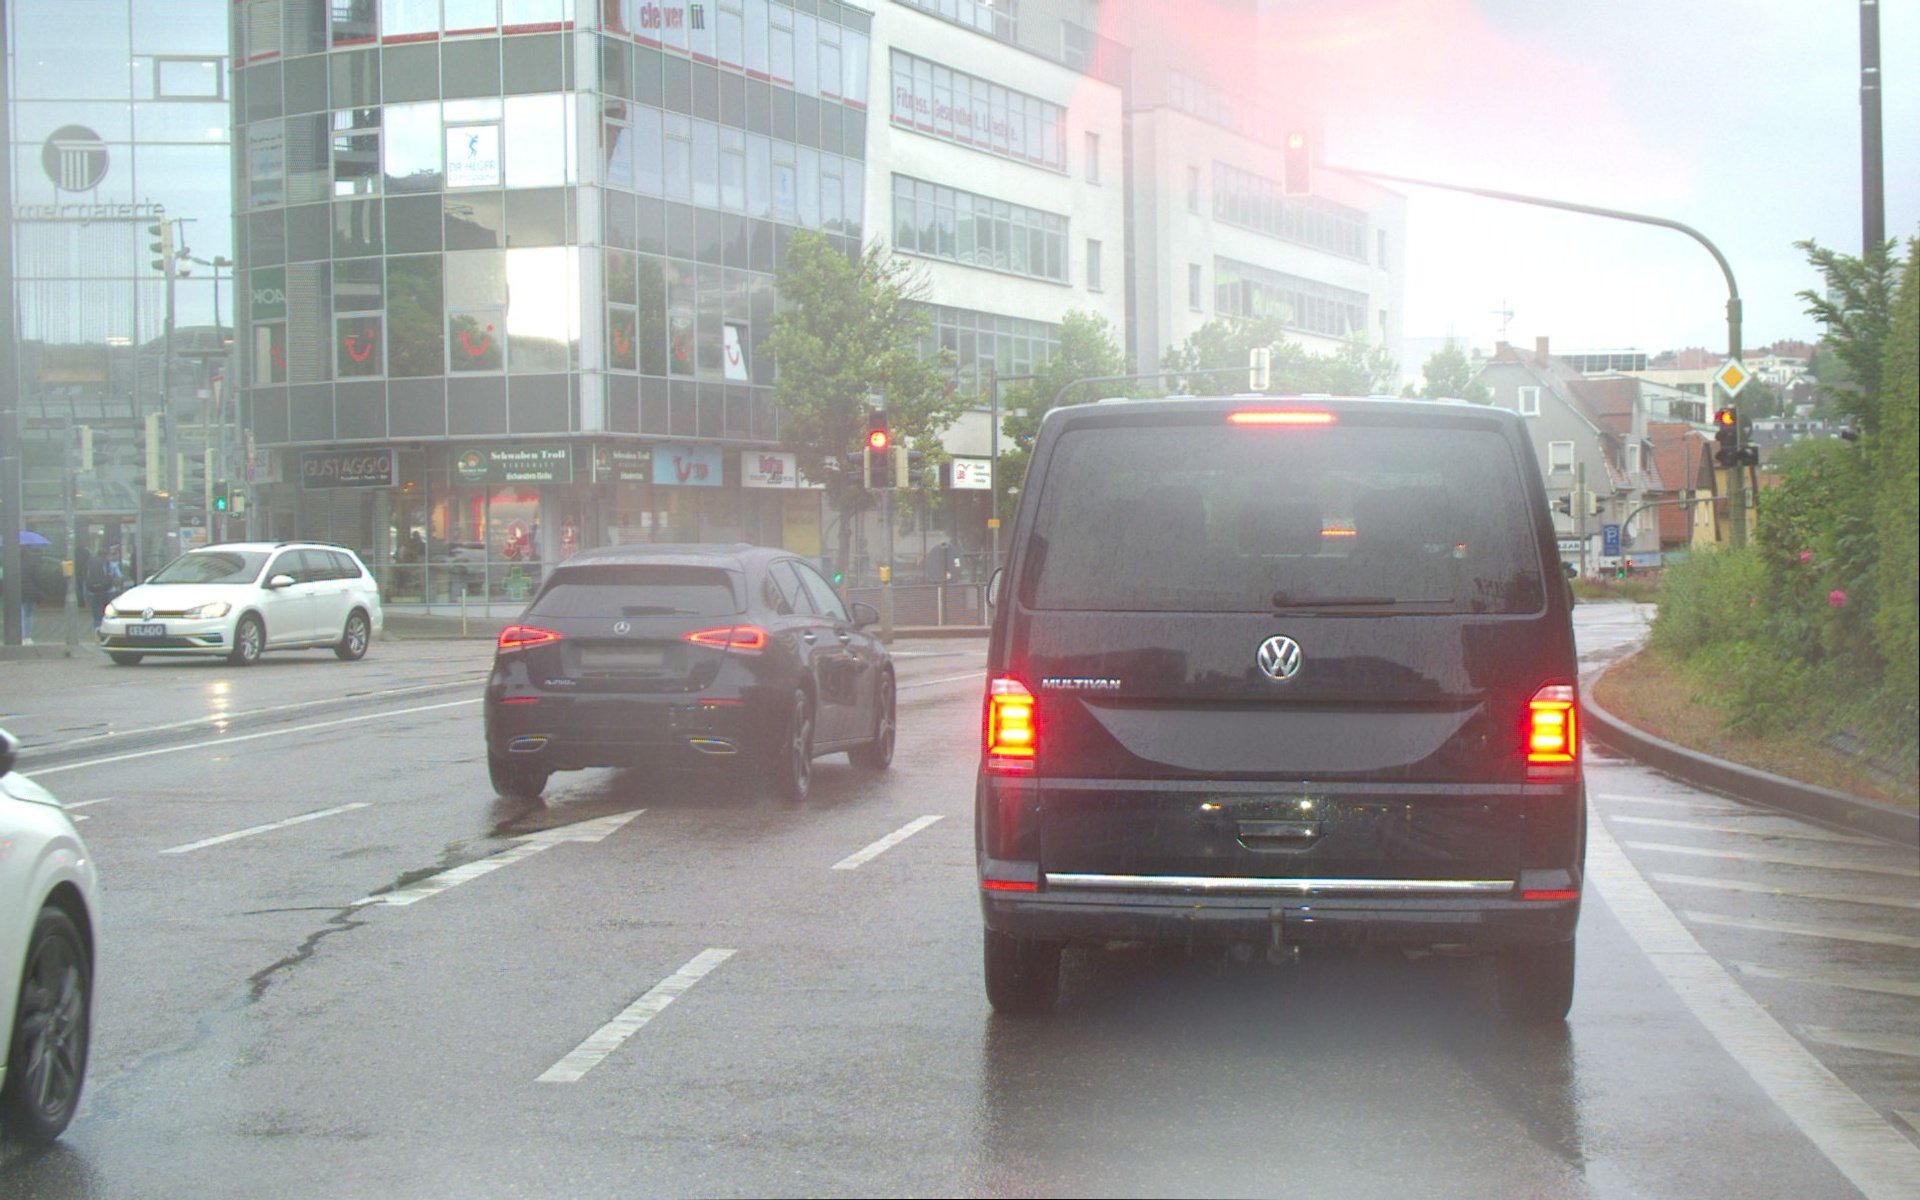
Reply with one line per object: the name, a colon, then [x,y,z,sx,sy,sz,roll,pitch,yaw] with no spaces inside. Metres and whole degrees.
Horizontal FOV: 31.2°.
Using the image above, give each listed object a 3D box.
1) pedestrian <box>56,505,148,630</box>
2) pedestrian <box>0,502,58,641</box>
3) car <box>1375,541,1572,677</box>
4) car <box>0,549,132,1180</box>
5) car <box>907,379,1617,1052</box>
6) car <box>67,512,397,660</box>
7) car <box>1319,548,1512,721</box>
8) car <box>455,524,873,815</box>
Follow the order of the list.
pedestrian: [-12.671,-0.478,50.792,0.846,1.813,1.023,-1,0,22]
pedestrian: [-13.861,-0.430,50.423,1.162,2.007,1.329,-1,1,-17]
car: [5.858,0.075,38.942,1.913,1.395,3.456,0,2,13]
car: [-3.228,0.628,7.059,1.872,1.457,3.872,0,1,4]
car: [1.063,0.296,12.025,1.996,1.887,4.586,0,1,5]
car: [-8.694,-0.203,41.468,1.887,1.676,4.502,0,1,18]
car: [4.413,0.278,32.905,1.634,1.443,4.267,1,2,10]
car: [-1.657,0.337,20.547,1.816,1.524,3.812,2,1,5]
